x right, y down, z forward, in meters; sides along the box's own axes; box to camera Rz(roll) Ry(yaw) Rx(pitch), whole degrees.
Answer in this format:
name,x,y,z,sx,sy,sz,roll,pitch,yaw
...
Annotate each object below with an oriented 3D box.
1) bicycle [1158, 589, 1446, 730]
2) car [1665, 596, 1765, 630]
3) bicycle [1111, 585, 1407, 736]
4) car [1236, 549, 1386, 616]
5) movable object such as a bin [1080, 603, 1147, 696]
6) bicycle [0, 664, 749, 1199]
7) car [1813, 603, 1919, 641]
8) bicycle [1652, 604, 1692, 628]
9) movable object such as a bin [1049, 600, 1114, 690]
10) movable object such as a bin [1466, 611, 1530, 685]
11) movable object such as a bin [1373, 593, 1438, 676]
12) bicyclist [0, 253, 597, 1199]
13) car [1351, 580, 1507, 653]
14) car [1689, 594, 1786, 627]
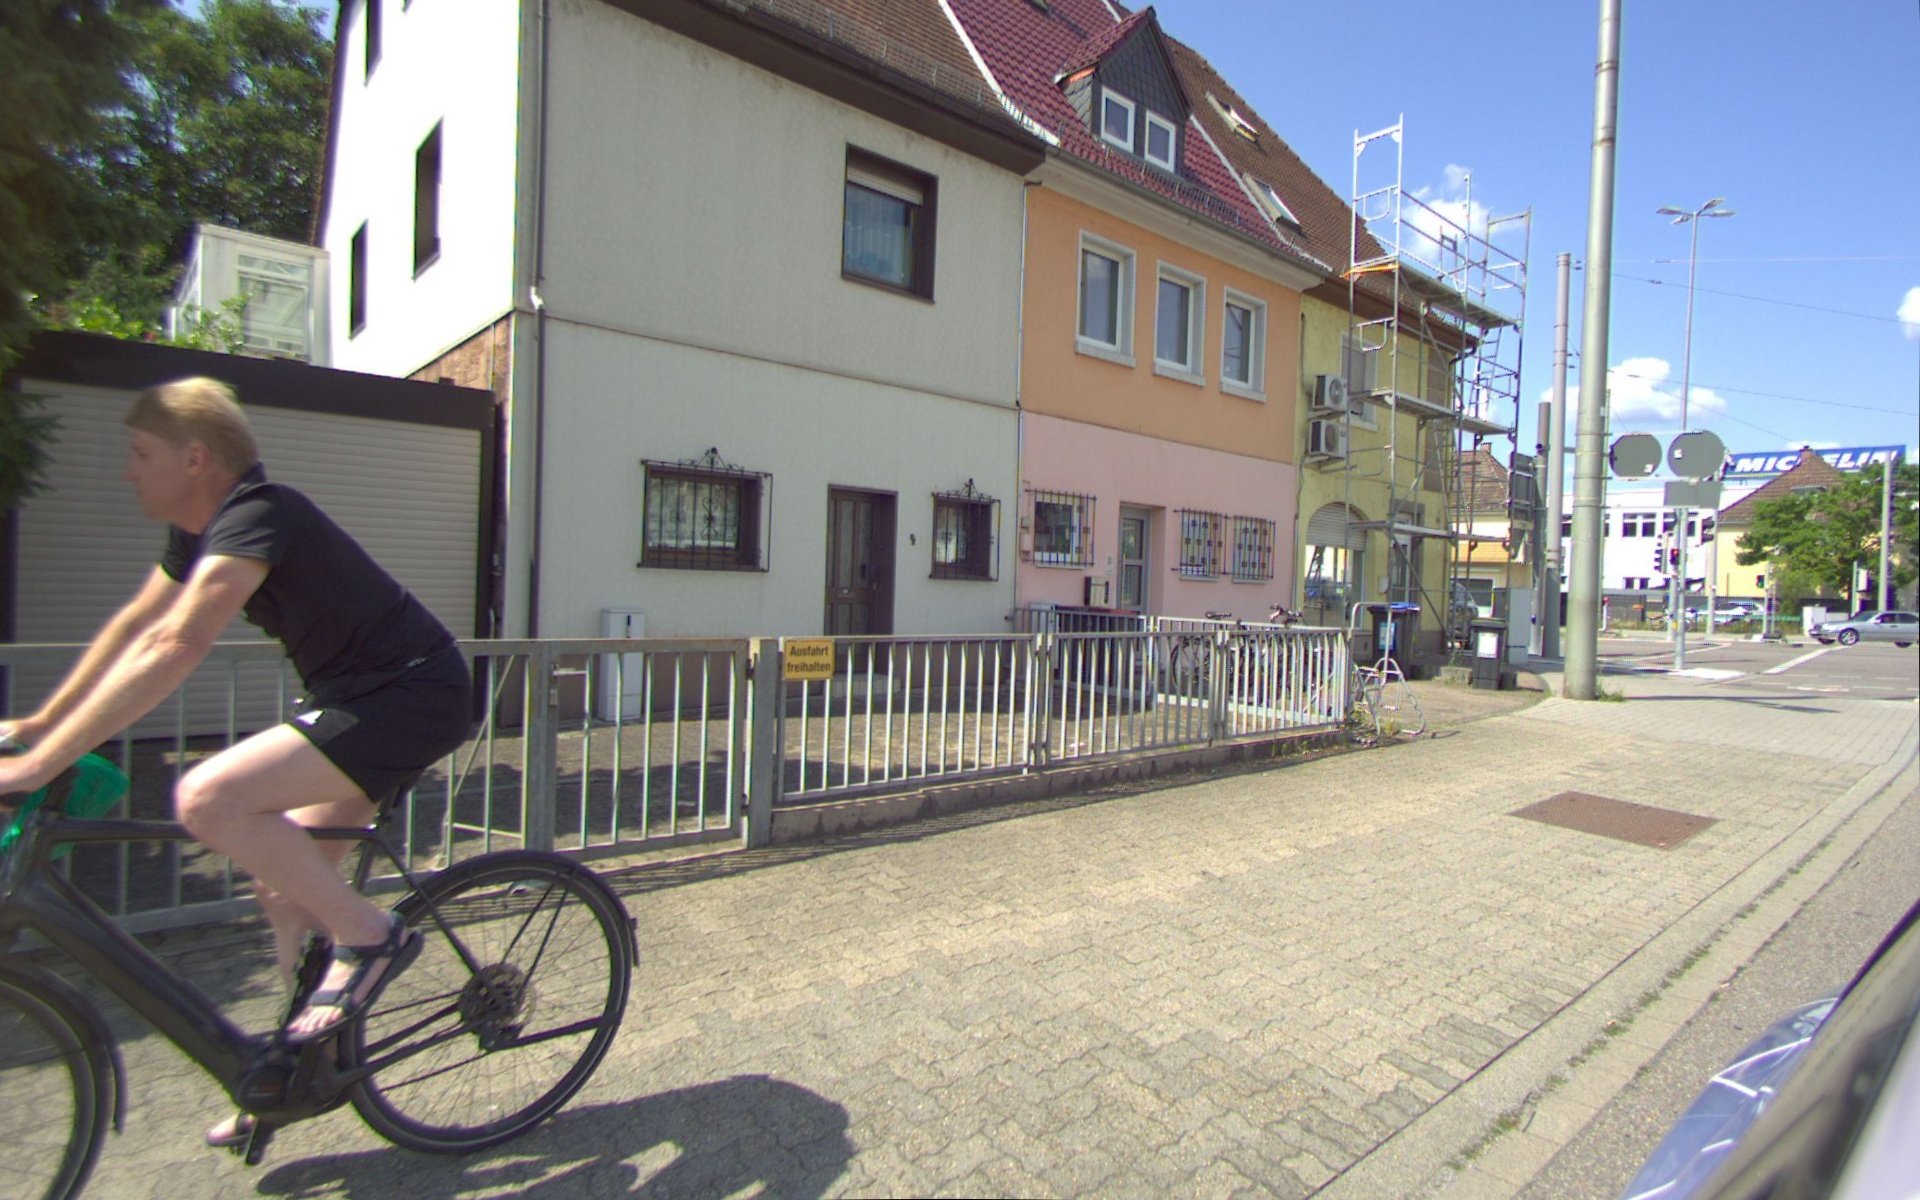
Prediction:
name,x,y,z,sx,sy,sz,roll,pitch,yaw
bicycle,3.302,0.507,10.101,0.772,1.118,2.667,0,3,-41
car,40.478,0.681,54.292,4.105,1.617,1.772,2,1,43
bicycle,2.728,0.485,9.628,0.679,1.133,2.731,0,3,-41
car,9.230,-0.430,26.501,4.059,1.616,1.997,0,0,-41
movable object such as a bin,1.674,0.526,11.058,0.548,0.958,0.469,0,2,-41
bicycle,-1.522,0.745,2.094,1.937,1.088,0.830,1,2,-42
car,36.907,0.882,40.104,4.400,1.415,1.718,1,0,16
bicycle,34.888,0.767,49.598,1.555,1.152,0.379,0,0,22
movable object such as a bin,1.370,0.496,11.424,0.548,0.958,0.469,0,2,-41
movable object such as a bin,7.180,0.626,13.495,0.728,0.930,0.512,0,1,-41
movable object such as a bin,6.321,0.469,14.350,0.840,1.119,0.512,0,1,-41
bicyclist,-1.478,0.364,2.117,1.065,1.816,0.830,2,2,-42
car,11.512,0.355,24.740,4.059,1.616,1.997,0,0,-41
car,42.926,0.564,55.919,4.105,1.617,1.772,2,1,43
